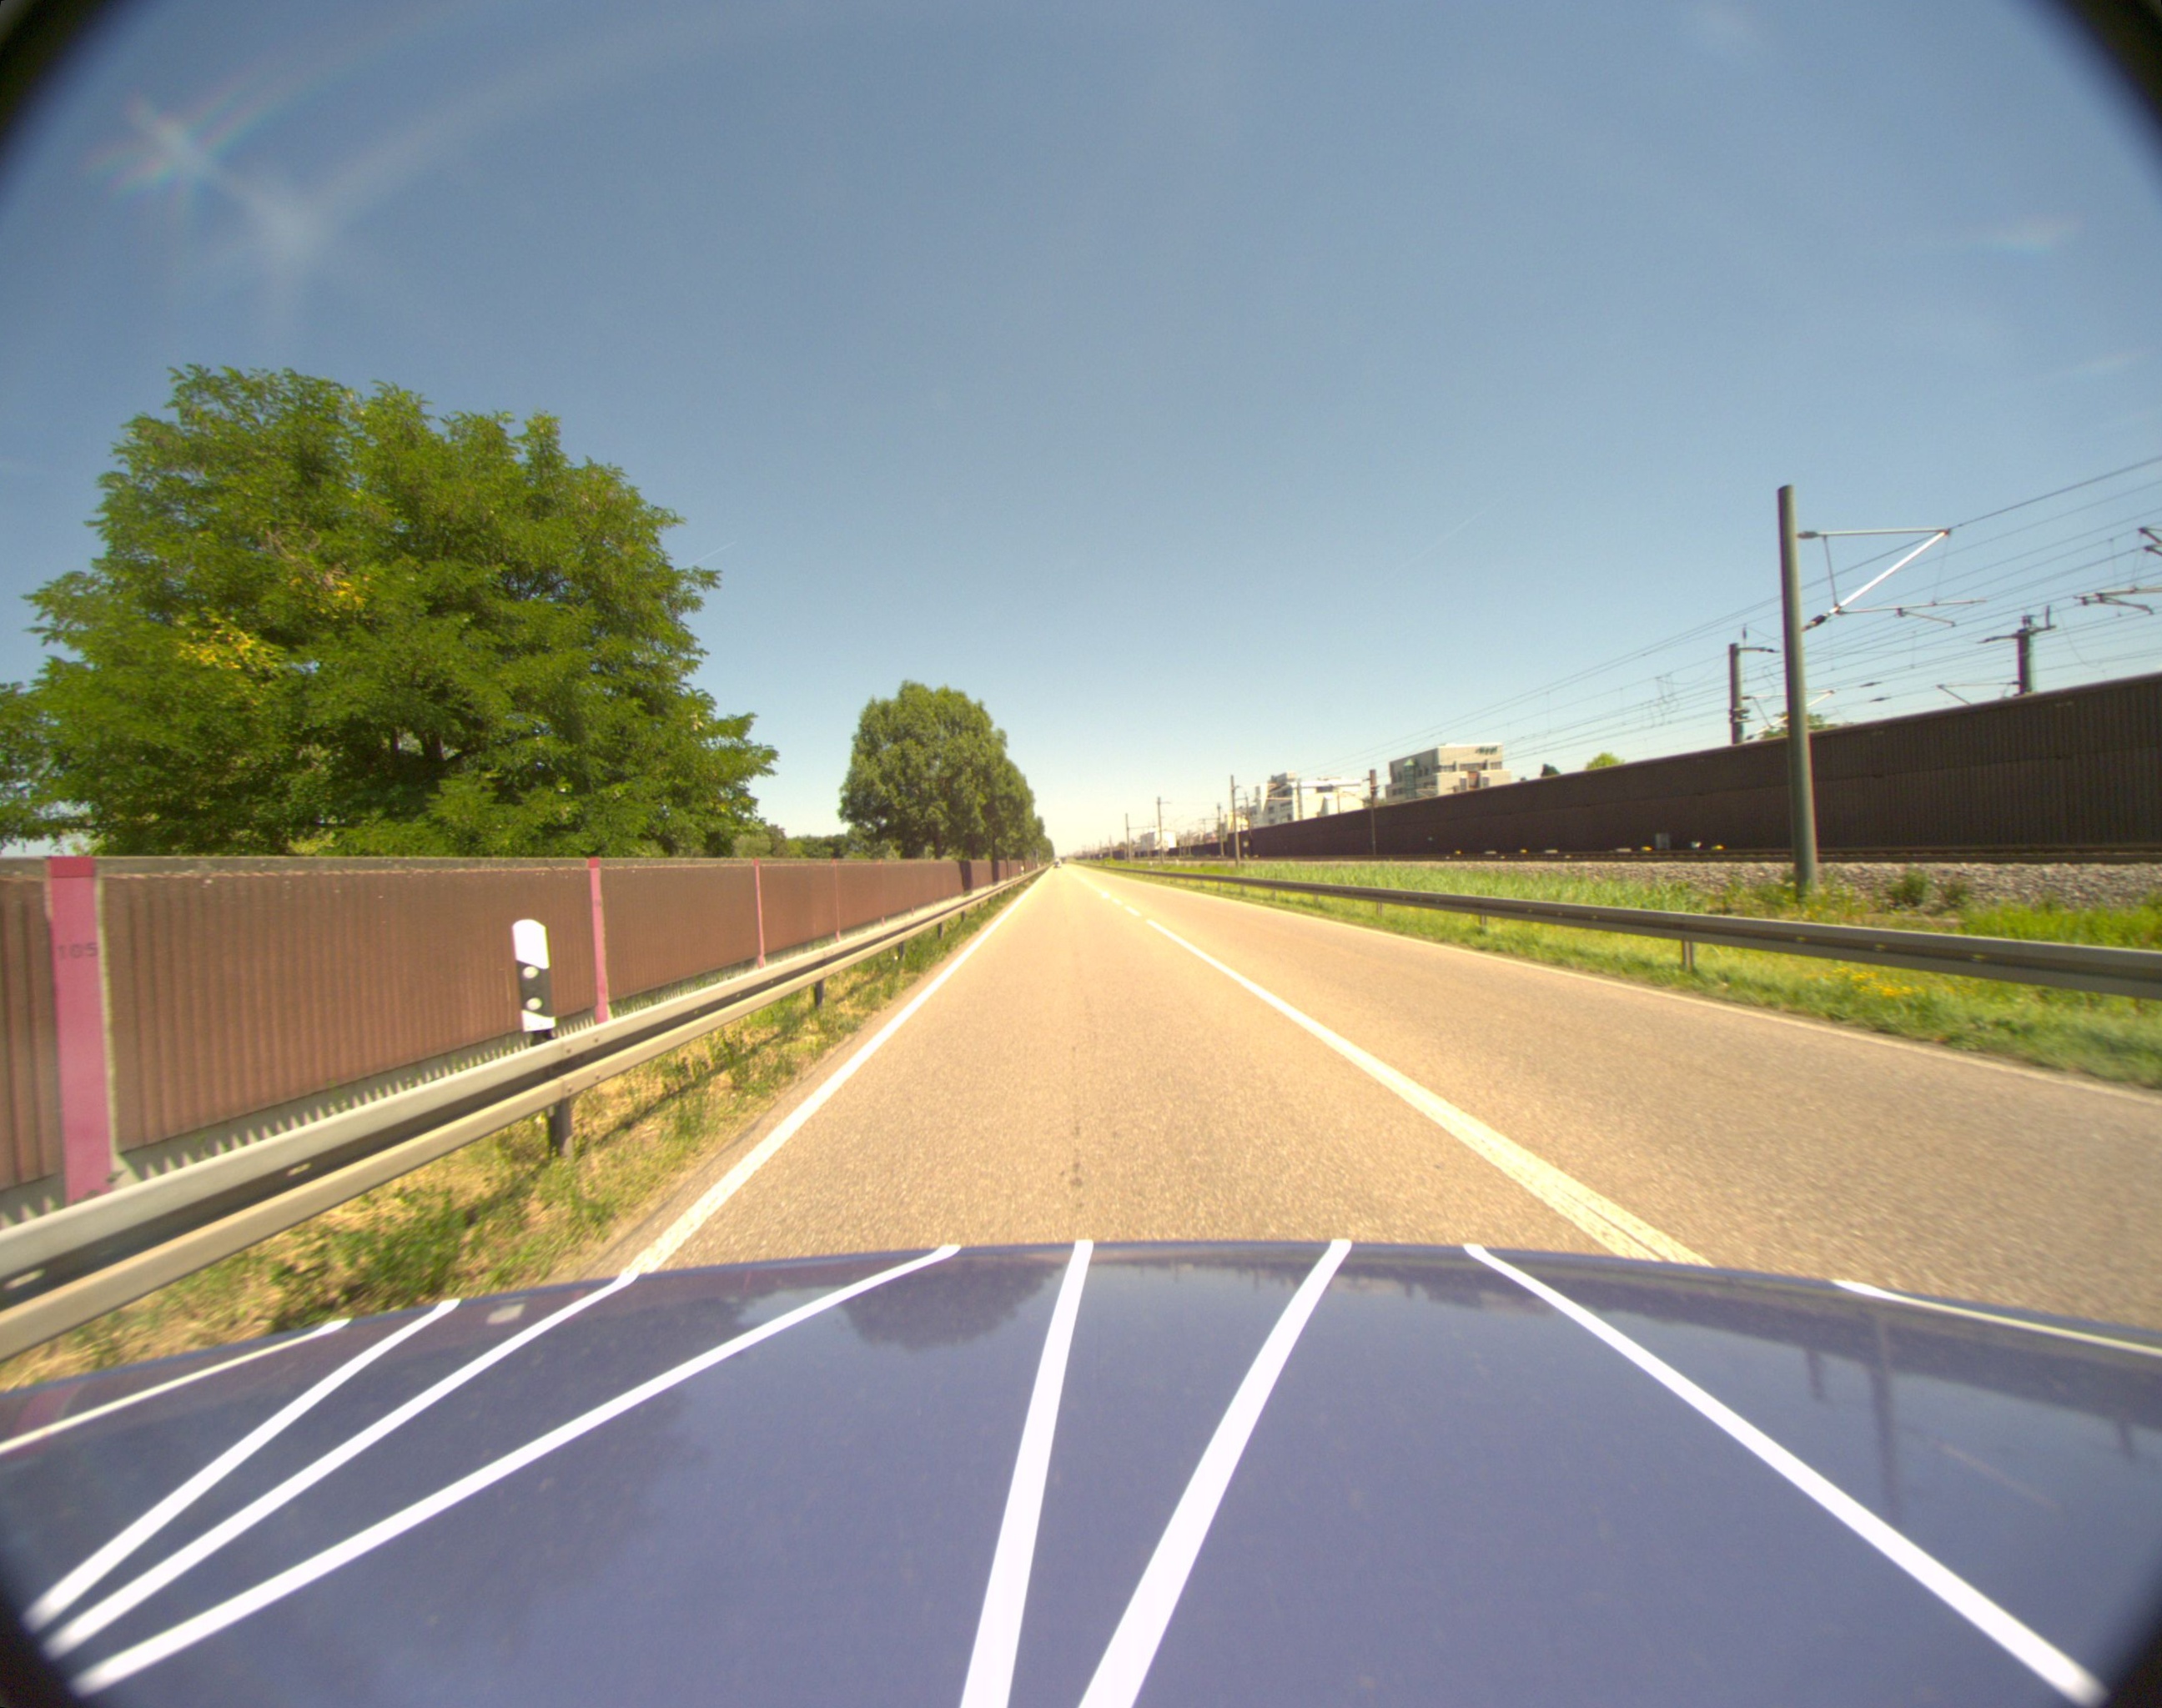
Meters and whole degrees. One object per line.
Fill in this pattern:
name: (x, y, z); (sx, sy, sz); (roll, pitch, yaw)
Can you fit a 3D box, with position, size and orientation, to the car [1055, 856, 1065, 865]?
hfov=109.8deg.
car: (-5.136, 1.595, 184.415); (1.998, 2.002, 4.000); (-2, 0, 1)
